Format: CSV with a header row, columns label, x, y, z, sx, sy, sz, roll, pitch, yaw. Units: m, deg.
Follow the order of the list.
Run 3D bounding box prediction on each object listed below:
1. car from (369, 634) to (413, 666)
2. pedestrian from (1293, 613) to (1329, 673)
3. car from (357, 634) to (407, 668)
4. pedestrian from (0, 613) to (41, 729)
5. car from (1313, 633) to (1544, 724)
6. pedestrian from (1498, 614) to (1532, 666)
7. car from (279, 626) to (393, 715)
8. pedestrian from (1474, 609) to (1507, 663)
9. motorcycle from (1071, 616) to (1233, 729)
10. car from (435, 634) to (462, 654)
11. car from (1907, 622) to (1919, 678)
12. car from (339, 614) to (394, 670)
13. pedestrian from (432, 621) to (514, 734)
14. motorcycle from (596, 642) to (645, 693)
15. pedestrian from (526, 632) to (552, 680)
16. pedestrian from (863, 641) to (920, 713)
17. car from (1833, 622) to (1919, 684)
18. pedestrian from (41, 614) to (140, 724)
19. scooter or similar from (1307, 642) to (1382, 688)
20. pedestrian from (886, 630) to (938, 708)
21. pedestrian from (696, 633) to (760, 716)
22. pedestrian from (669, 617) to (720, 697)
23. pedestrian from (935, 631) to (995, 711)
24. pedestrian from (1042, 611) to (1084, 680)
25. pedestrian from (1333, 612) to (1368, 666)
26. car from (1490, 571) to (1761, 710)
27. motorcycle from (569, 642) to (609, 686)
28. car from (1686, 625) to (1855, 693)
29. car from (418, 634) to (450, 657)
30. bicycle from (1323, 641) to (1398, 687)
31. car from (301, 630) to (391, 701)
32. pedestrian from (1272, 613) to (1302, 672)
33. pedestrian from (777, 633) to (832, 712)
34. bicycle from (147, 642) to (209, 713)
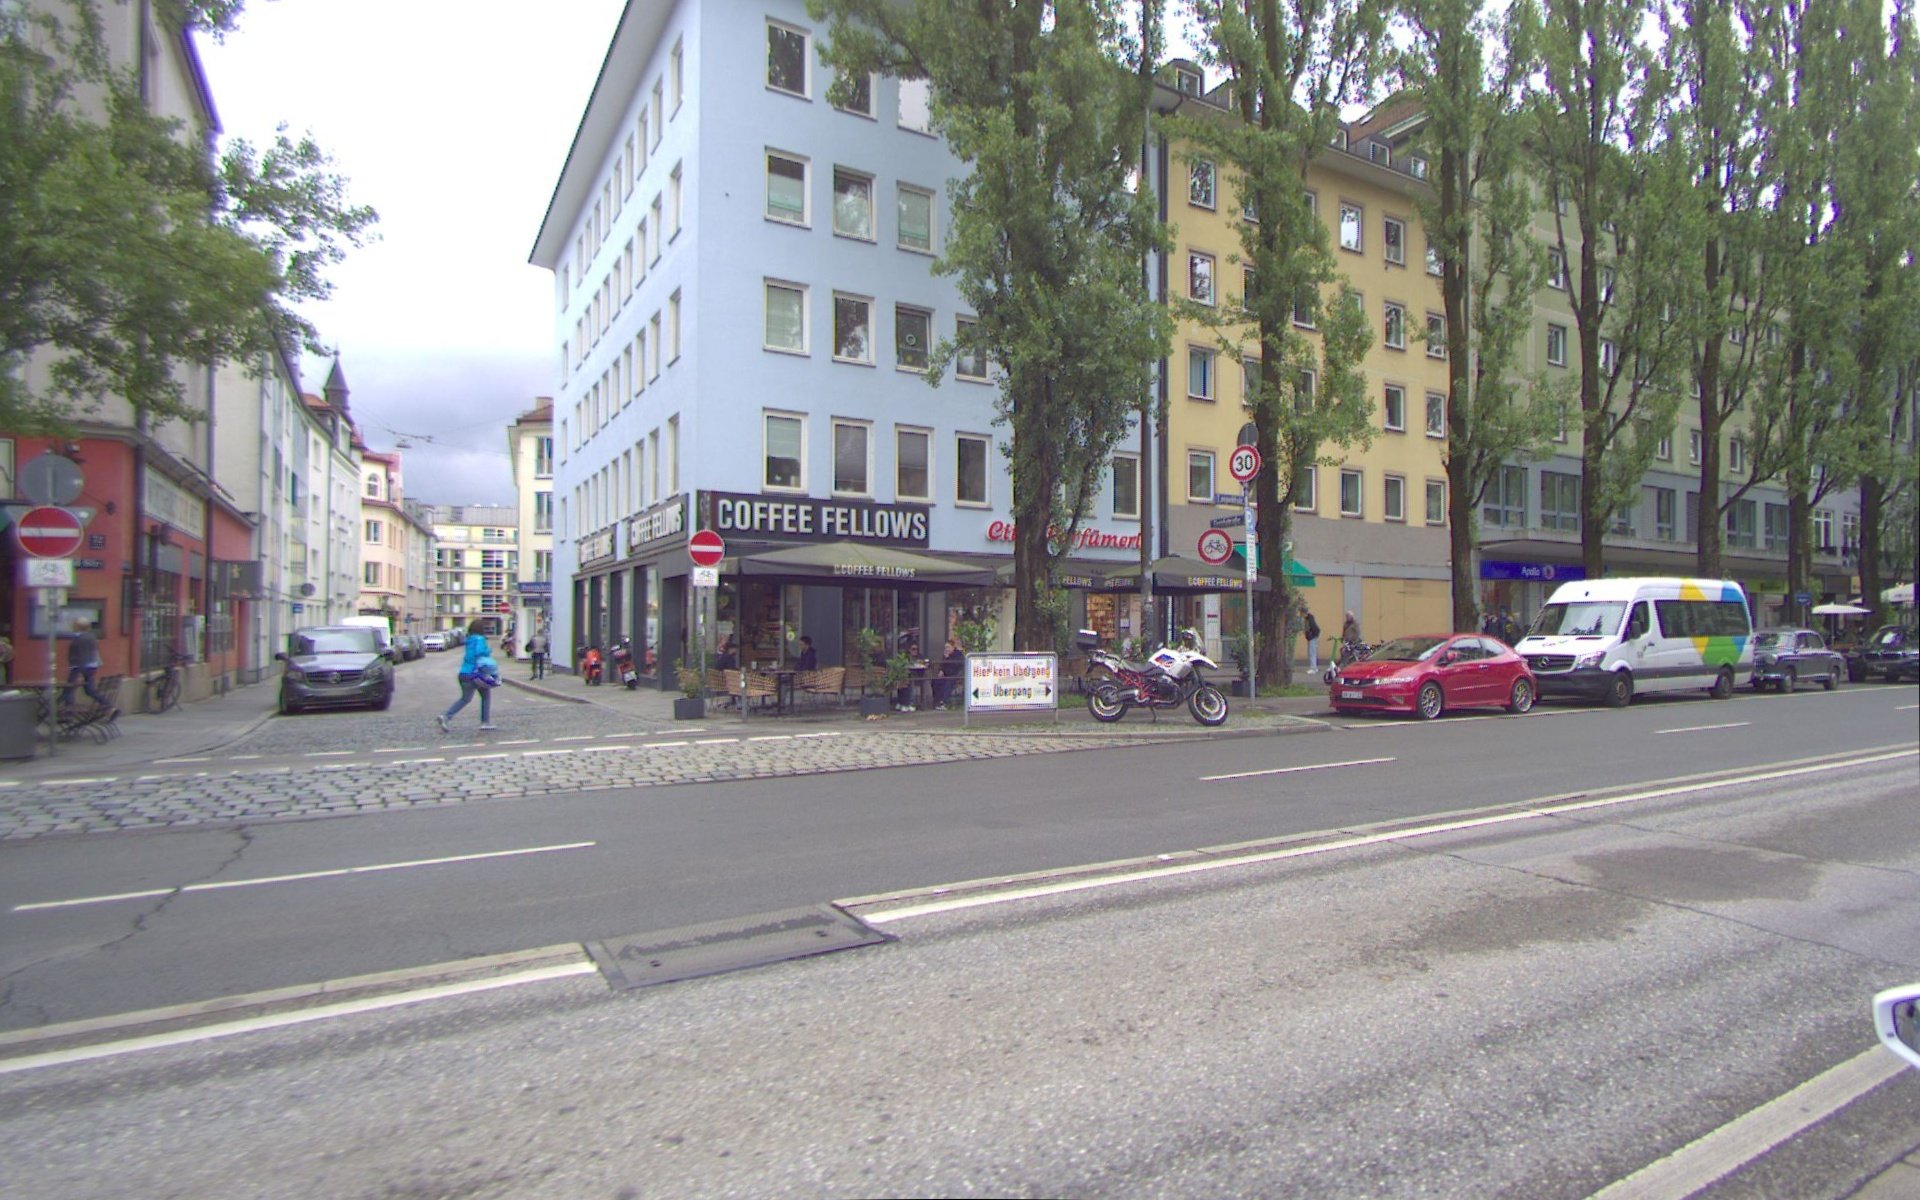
label,x,y,z,sx,sy,sz,roll,pitch,yaw
car,-33.917,2.992,60.016,1.957,1.789,4.558,1,-3,-26
pedestrian,9.857,1.202,28.205,0.713,1.657,0.699,0,-1,-6
car,-31.172,2.747,54.280,1.957,1.789,4.559,1,-3,-26
pedestrian,-14.143,1.025,14.627,0.916,1.668,0.696,1,-2,-25
car,8.419,1.337,17.989,4.100,1.438,1.729,1,-3,-31
pedestrian,18.600,1.323,33.686,0.717,1.722,0.695,1,-1,-26
car,-13.908,1.524,22.567,1.960,1.789,4.551,1,-3,-30
pedestrian,18.226,1.231,34.502,0.717,1.818,0.695,1,-1,-26
motorcycle,2.861,1.040,14.958,2.301,1.584,0.715,0,0,18
car,-46.906,4.046,92.141,1.955,1.789,4.562,0,-3,-24
car,31.989,1.572,32.040,3.881,1.743,1.700,1,-3,-33
car,-26.627,1.891,45.204,1.959,2.396,4.553,1,-3,-29
pedestrian,-7.442,1.157,15.367,0.690,1.668,0.945,-1,-2,44
motorcycle,-8.872,1.714,26.171,0.729,1.219,2.748,-1,-1,-29
pedestrian,-14.719,1.939,35.135,0.693,1.668,0.859,1,-2,-34
pedestrian,-1.197,1.326,17.466,0.692,1.198,0.811,1,-2,-32
car,27.503,1.508,29.177,4.557,1.686,1.858,1,-3,-31
pedestrian,-13.705,1.083,15.861,0.917,1.668,0.695,4,-1,-25
scooter or similar,9.088,1.514,23.793,0.417,1.040,1.763,1,-2,-32
pedestrian,-0.879,1.235,18.231,0.692,1.380,0.709,1,-2,-32
pedestrian,-4.024,1.268,17.396,0.938,1.380,0.695,1,-1,-28
pedestrian,-6.127,1.294,23.197,0.933,1.796,0.699,-1,-1,30
pedestrian,0.083,1.253,17.945,0.838,1.380,0.694,1,-2,-31
pedestrian,2.609,1.139,25.386,0.775,1.708,0.753,1,-1,-27
pedestrian,12.010,1.194,30.873,0.718,1.657,0.695,1,-1,-28
car,14.345,0.849,21.479,6.831,2.601,1.996,1,-3,-31
motorcycle,-11.154,1.893,30.157,0.729,1.219,2.748,-1,-1,-29
car,20.325,1.432,25.145,4.363,1.572,1.858,1,-3,-31
car,-42.624,3.664,81.450,1.956,1.789,4.561,0,-3,-24
bicycle,9.603,1.528,24.162,0.417,1.040,1.763,1,-2,-32
car,-16.964,1.782,27.881,1.960,1.789,4.551,1,-3,-30
pedestrian,9.249,1.202,28.401,0.553,1.657,0.699,0,-1,-6
pedestrian,-2.794,1.281,18.054,0.808,1.380,0.695,1,-1,-27
bicycle,-14.623,1.408,18.830,0.638,1.220,2.328,1,-2,-31
